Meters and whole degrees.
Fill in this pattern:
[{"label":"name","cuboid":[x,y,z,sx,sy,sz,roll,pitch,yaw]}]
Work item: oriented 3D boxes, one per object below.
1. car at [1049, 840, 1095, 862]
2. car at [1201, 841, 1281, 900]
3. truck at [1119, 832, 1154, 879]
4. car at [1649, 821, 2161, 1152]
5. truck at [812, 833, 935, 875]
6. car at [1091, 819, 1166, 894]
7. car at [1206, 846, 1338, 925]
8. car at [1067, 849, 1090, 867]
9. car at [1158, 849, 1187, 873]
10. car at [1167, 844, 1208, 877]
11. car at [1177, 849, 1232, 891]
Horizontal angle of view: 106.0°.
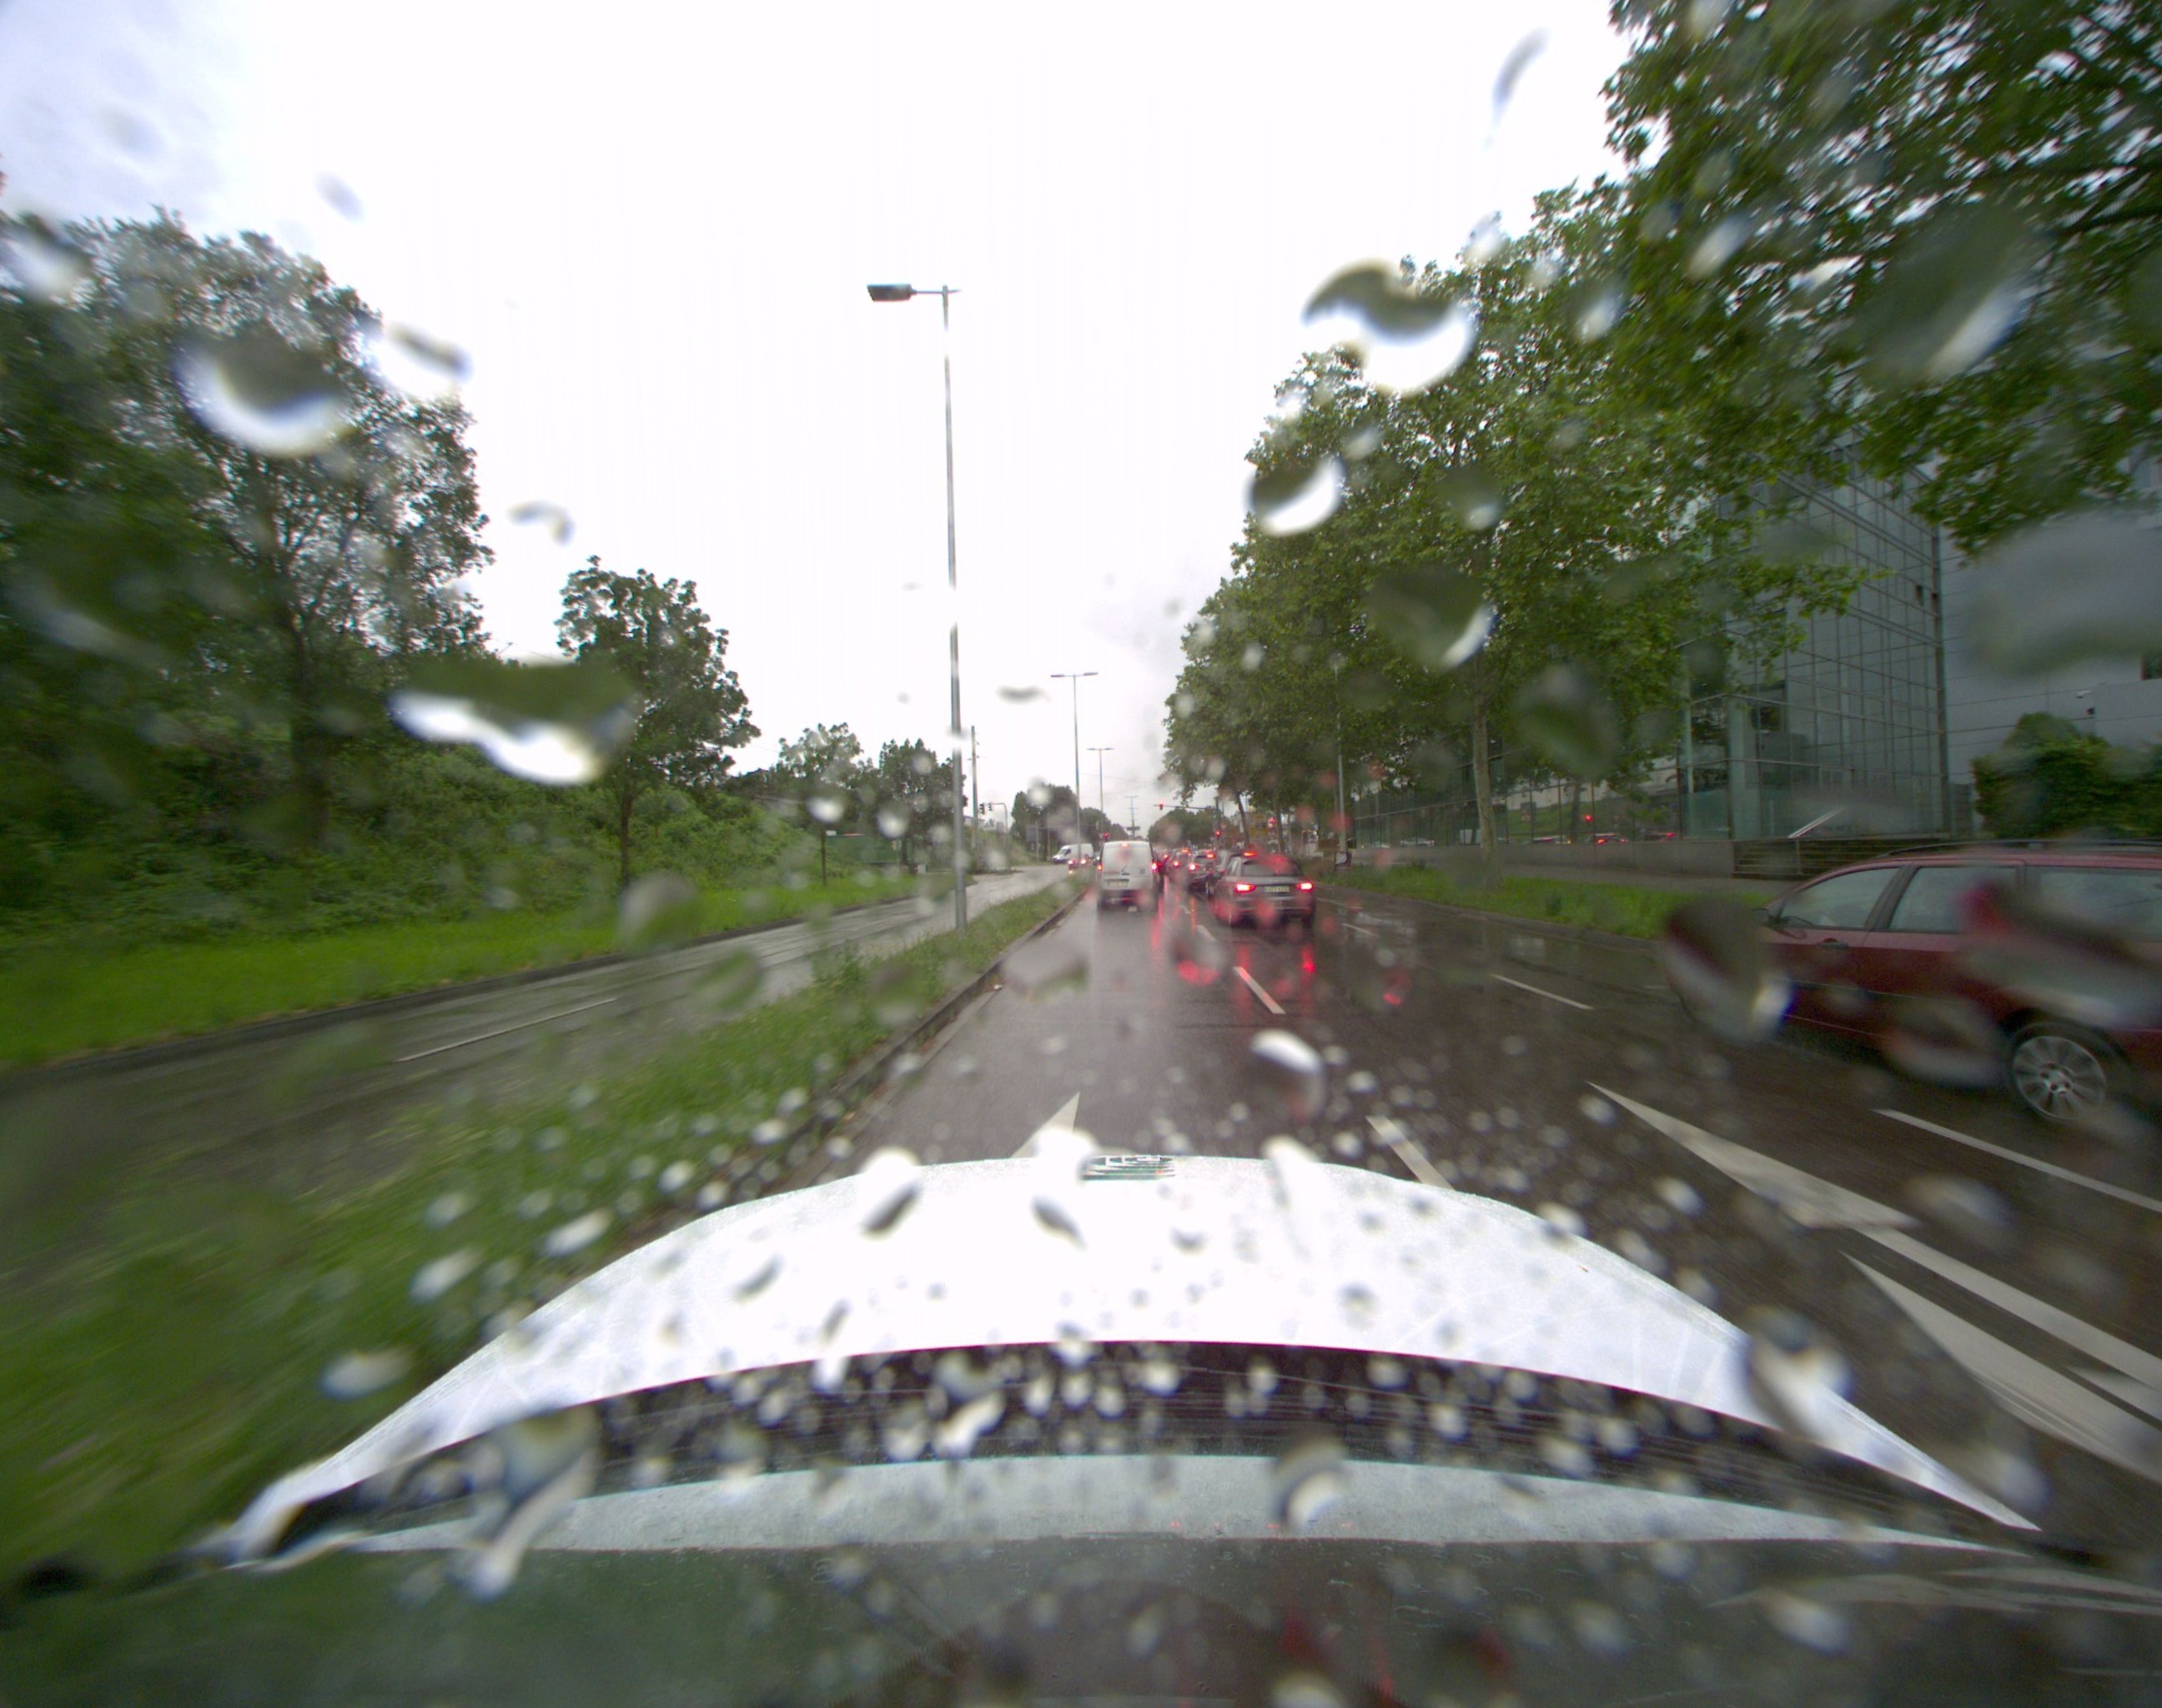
[{"label":"car","cuboid":[-1.152,-0.413,107.934,6.042,2.744,1.979,0,-2,-33]},{"label":"car","cuboid":[4.636,0.416,24.094,1.702,1.549,4.002,-1,1,2]},{"label":"truck","cuboid":[3.068,0.070,45.648,1.750,2.466,4.002,-1,0,2]},{"label":"car","cuboid":[6.011,0.606,5.341,1.832,1.536,4.114,-1,0,3]},{"label":"truck","cuboid":[-18.192,-0.013,71.827,10.180,3.452,2.630,0,-2,-34]},{"label":"car","cuboid":[1.359,0.110,24.029,1.986,2.014,4.002,-1,-1,2]},{"label":"car","cuboid":[3.888,0.586,17.295,1.986,1.452,4.002,-1,0,2]},{"label":"car","cuboid":[-0.215,0.364,74.849,1.708,1.513,3.619,-4,0,4]},{"label":"car","cuboid":[6.051,0.417,53.972,1.704,1.445,4.004,-2,1,4]},{"label":"car","cuboid":[5.058,0.287,39.086,1.704,1.445,4.004,-2,1,4]},{"label":"car","cuboid":[4.711,0.563,31.520,1.704,1.445,4.004,-2,1,4]}]
